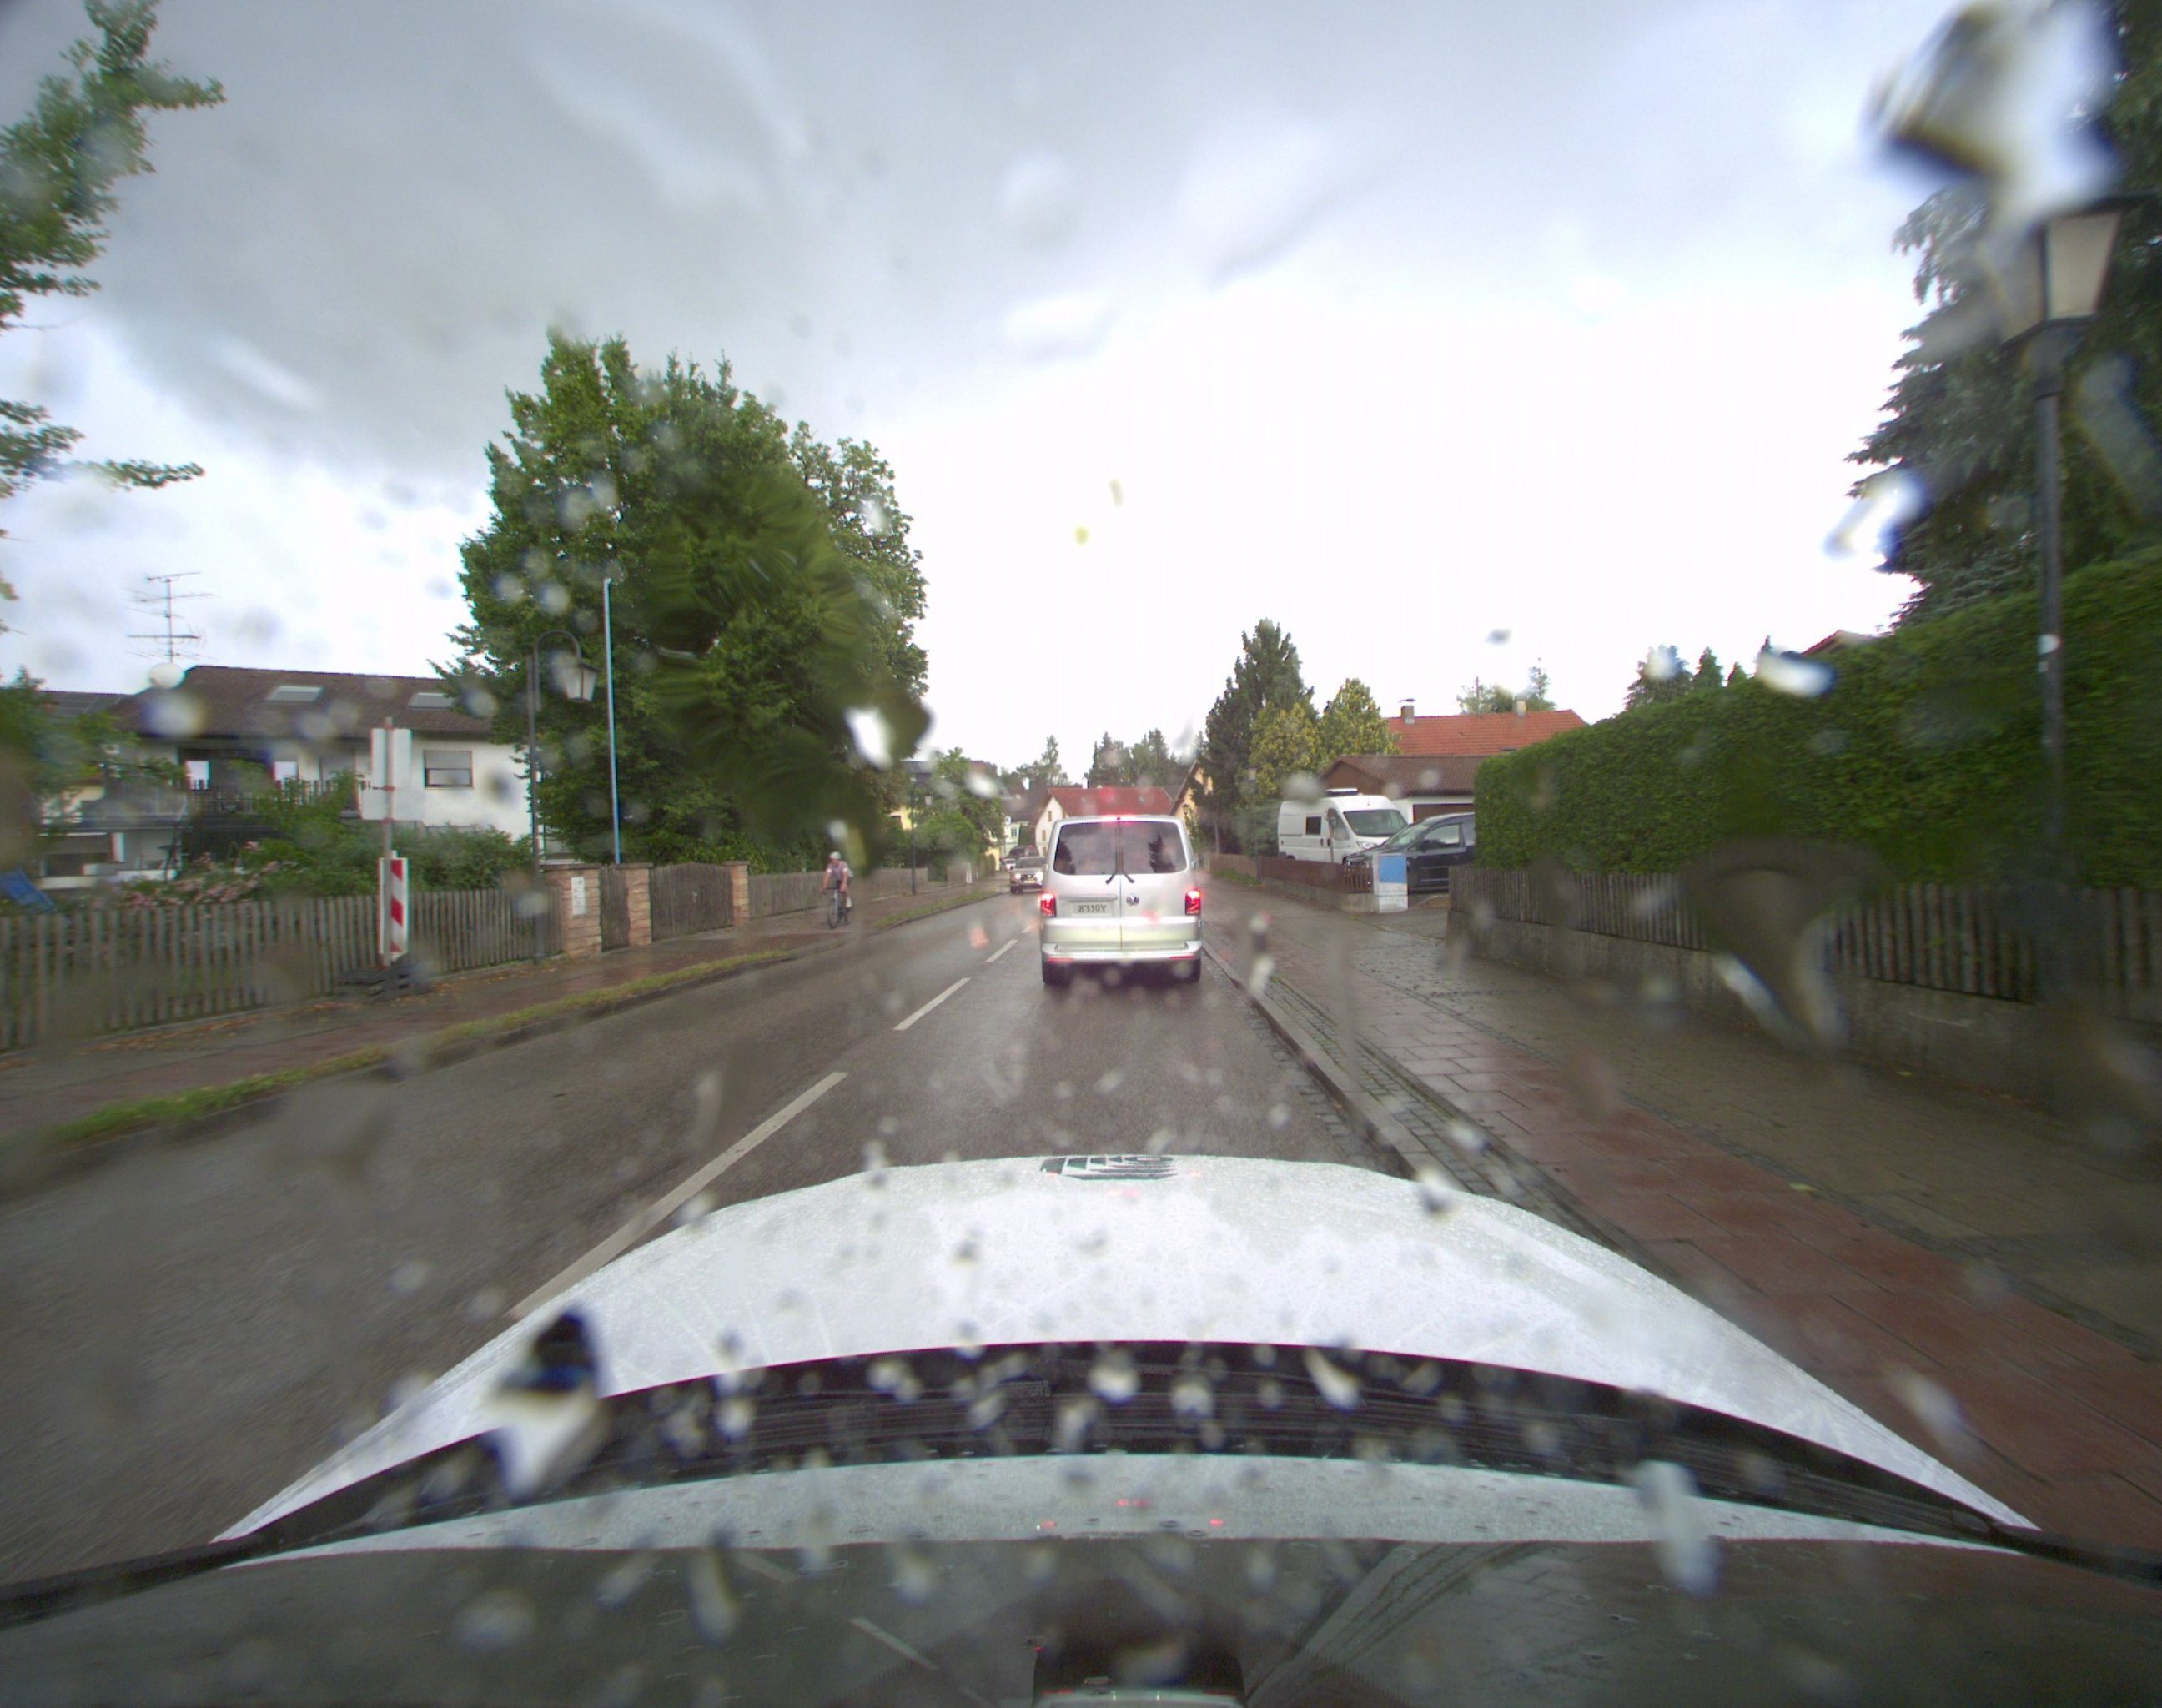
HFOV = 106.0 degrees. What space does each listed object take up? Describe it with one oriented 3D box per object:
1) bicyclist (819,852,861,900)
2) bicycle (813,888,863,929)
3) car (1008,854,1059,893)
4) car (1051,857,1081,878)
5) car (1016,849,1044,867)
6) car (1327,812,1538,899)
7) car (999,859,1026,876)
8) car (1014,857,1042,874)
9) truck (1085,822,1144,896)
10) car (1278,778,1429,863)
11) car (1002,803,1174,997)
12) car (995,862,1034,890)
[{"bbox_3d":[-5.410,0.481,18.300,0.585,1.021,1.061,-1,0,2],"label":"bicyclist"},{"bbox_3d":[-5.422,1.200,18.295,0.454,0.798,1.978,-1,0,2],"label":"bicycle"},{"bbox_3d":[-2.047,0.847,36.336,1.820,1.558,4.179,-2,-1,2],"label":"car"},{"bbox_3d":[-1.486,1.344,79.860,1.997,2.014,3.979,0,-1,-15],"label":"car"},{"bbox_3d":[-5.848,0.450,93.008,2.001,2.014,3.971,0,-1,-22],"label":"car"},{"bbox_3d":[7.936,0.003,18.599,4.082,1.751,1.694,-2,2,-2],"label":"car"},{"bbox_3d":[-7.385,1.440,87.365,1.999,1.703,3.975,0,-1,-18],"label":"car"},{"bbox_3d":[-6.119,1.314,93.342,2.002,1.927,3.969,0,-1,-23],"label":"car"},{"bbox_3d":[1.500,0.240,37.070,2.466,3.074,6.298,0,-1,2],"label":"truck"},{"bbox_3d":[7.710,-0.833,23.641,1.994,2.173,4.934,0,-1,-11],"label":"car"},{"bbox_3d":[0.235,0.508,10.522,1.792,2.014,4.005,0,-1,5],"label":"car"},{"bbox_3d":[-3.712,1.215,45.811,1.611,1.444,3.674,-1,-1,4],"label":"car"}]
